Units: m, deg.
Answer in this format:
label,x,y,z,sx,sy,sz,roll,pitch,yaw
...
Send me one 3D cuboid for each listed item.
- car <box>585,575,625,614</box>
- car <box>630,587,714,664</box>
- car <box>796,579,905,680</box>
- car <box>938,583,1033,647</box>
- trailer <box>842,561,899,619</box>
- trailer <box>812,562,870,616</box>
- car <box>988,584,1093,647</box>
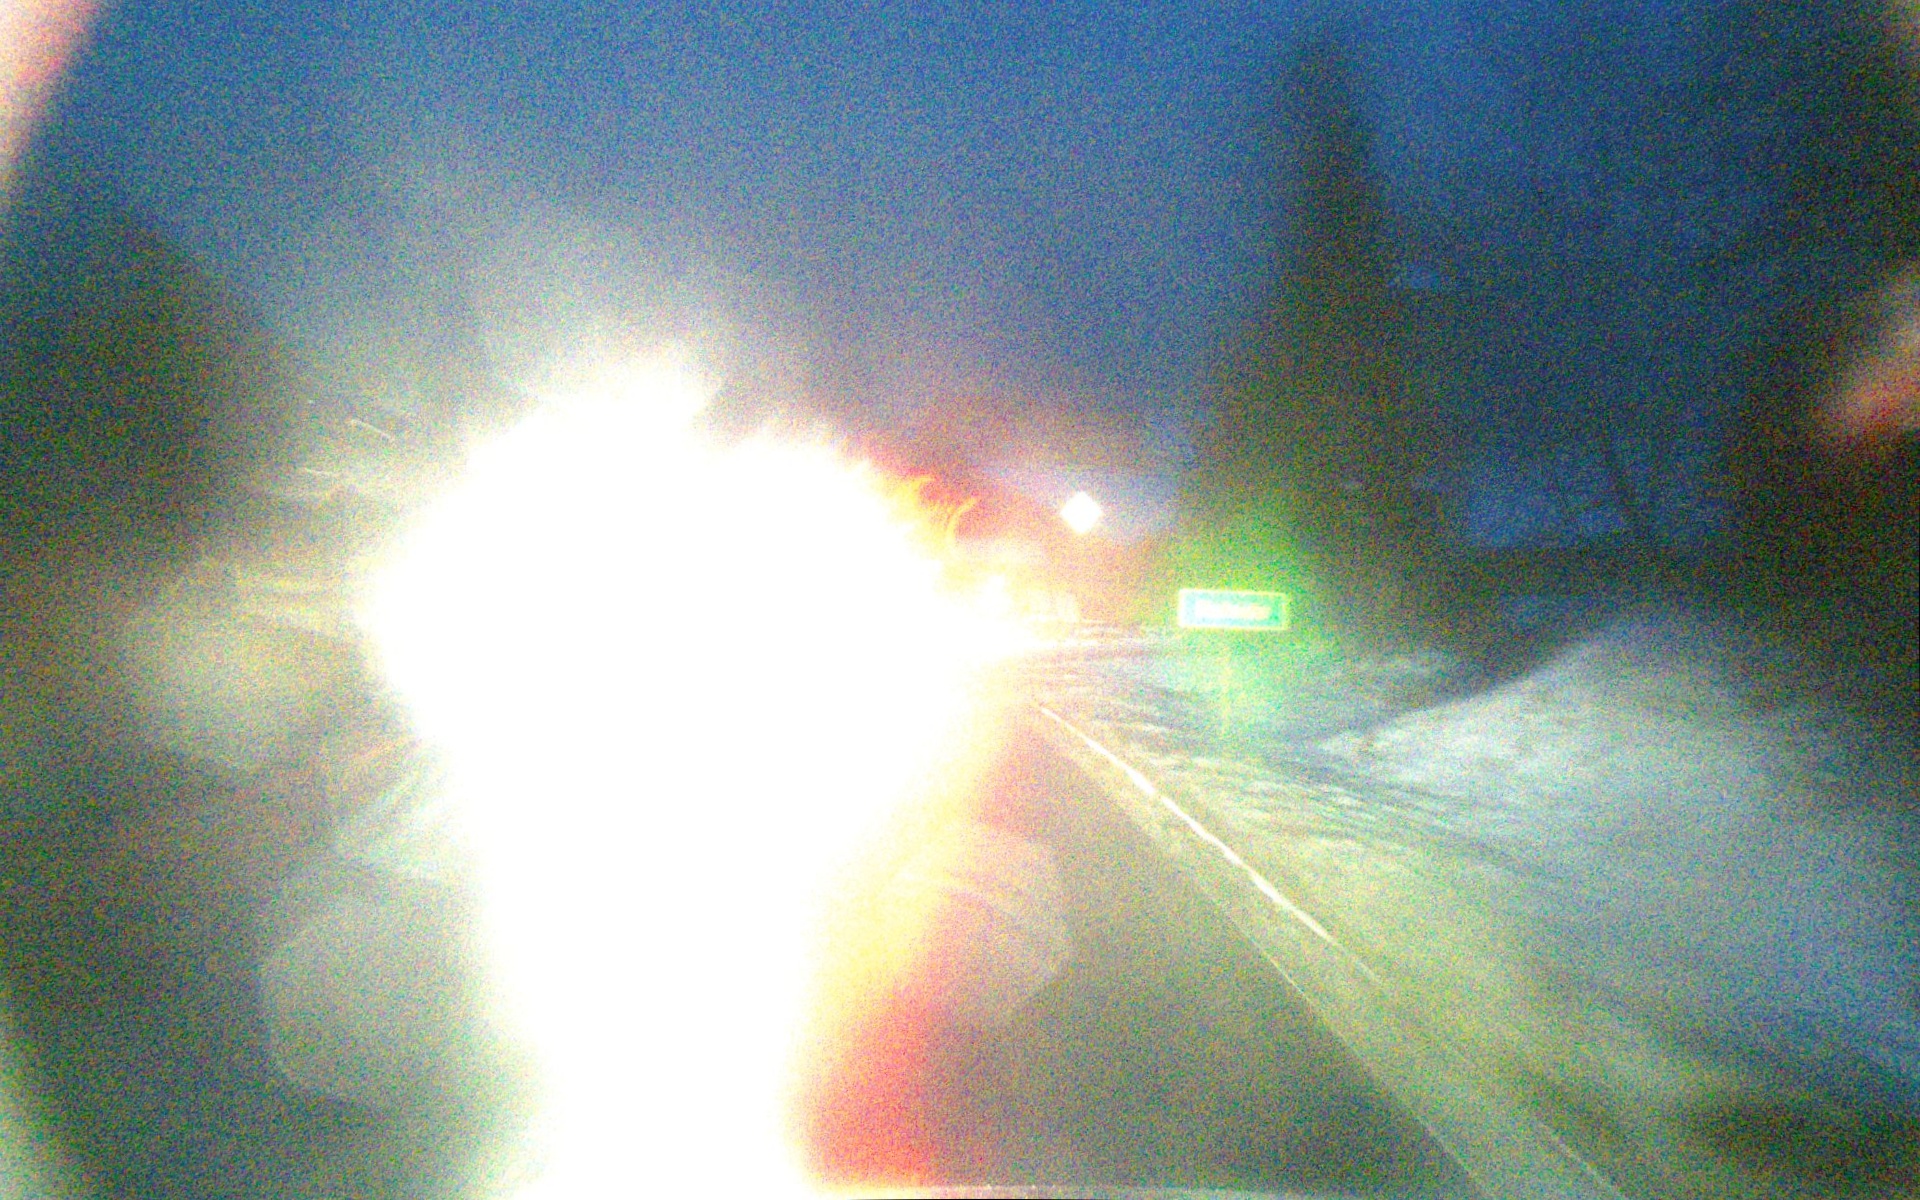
label,x,y,z,sx,sy,sz,roll,pitch,yaw
car,-20.077,-0.297,93.502,1.887,2.093,4.867,2,0,-15
car,-7.274,0.622,41.977,1.940,1.809,3.991,2,0,-9
car,-2.015,0.490,29.653,1.767,1.657,3.610,2,0,-6
car,0.830,0.488,56.773,1.850,2.076,4.366,2,0,-19
trailer,-3.969,-0.456,73.024,1.578,2.393,4.414,3,0,-14
trailer,-5.622,-0.528,77.605,1.604,2.406,4.631,3,0,-17
car,2.465,0.454,51.871,1.850,1.841,4.133,2,0,-19
